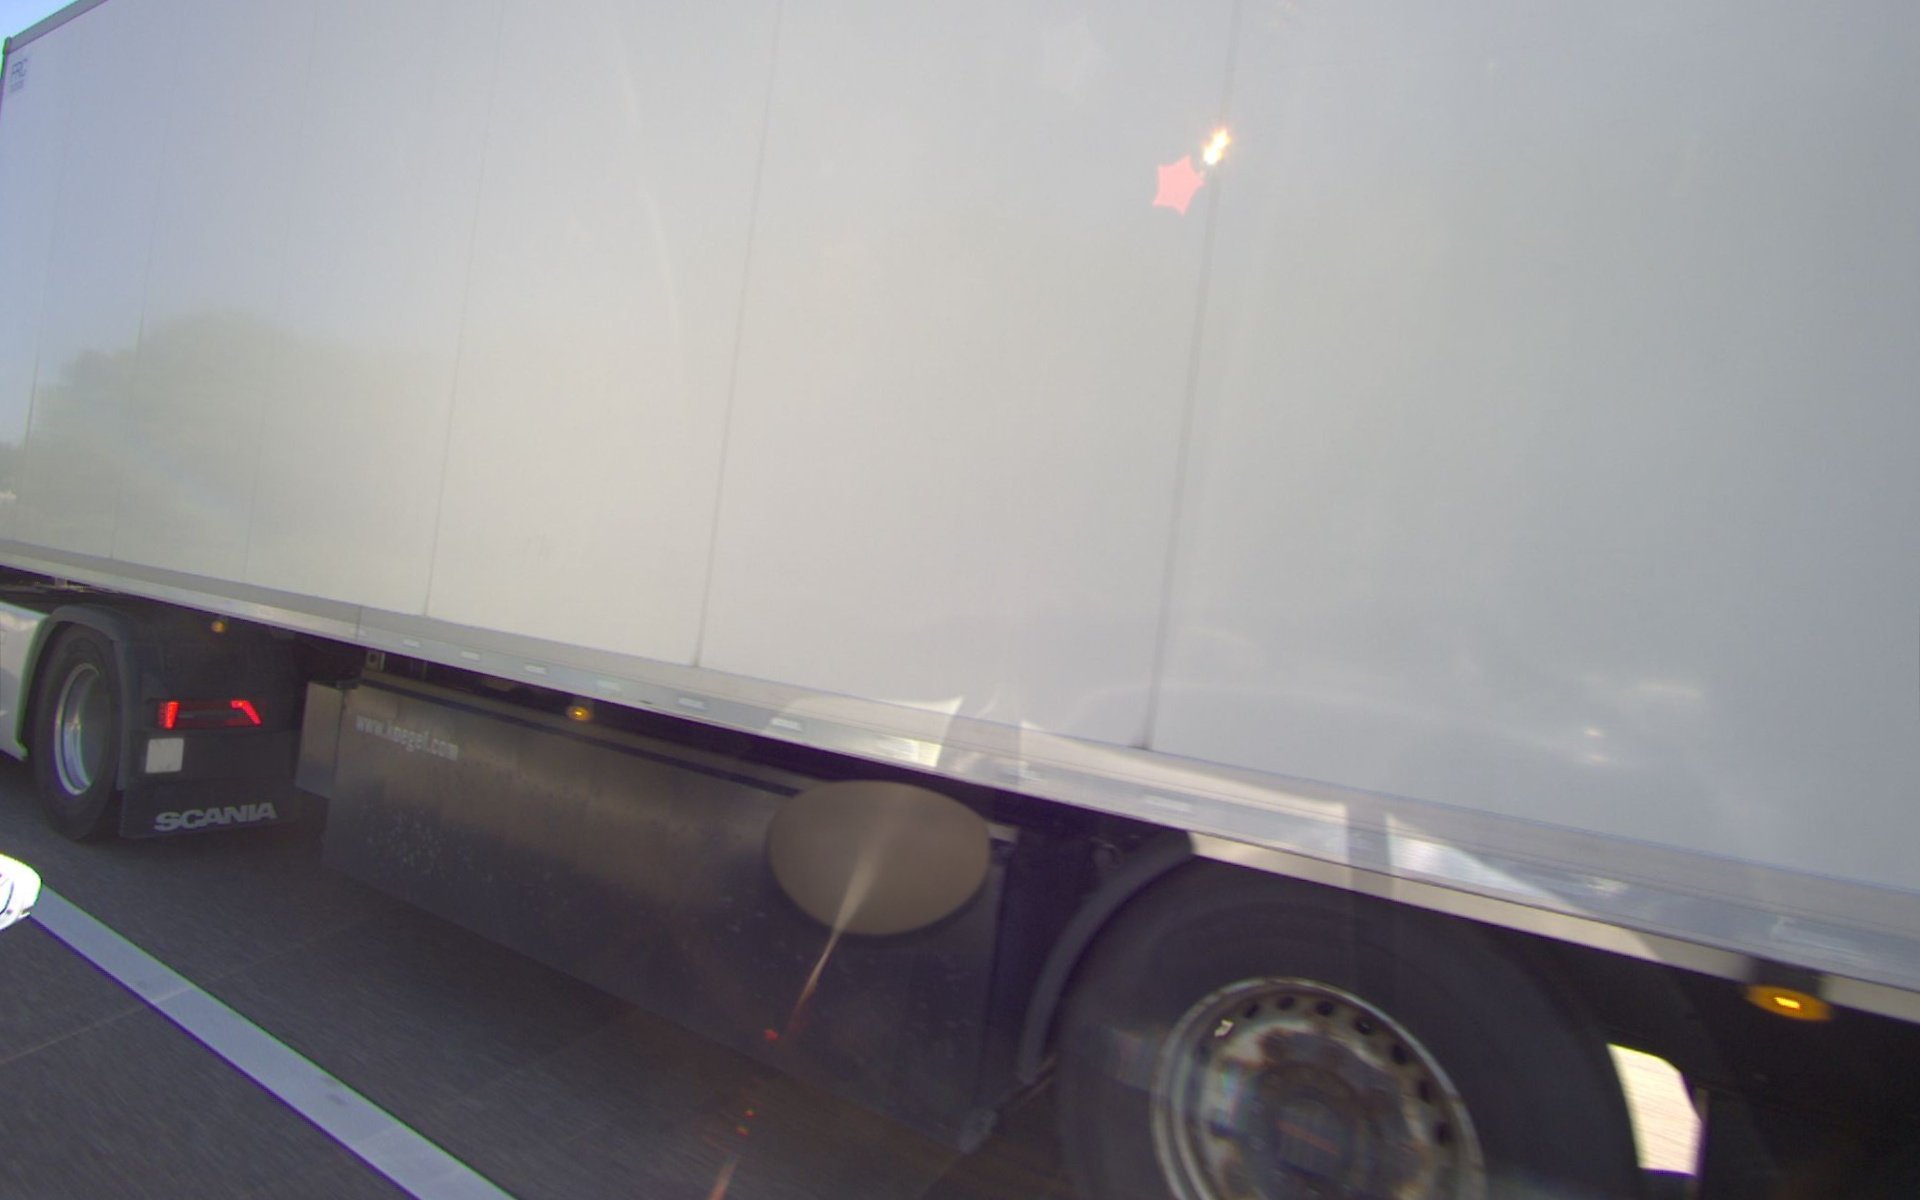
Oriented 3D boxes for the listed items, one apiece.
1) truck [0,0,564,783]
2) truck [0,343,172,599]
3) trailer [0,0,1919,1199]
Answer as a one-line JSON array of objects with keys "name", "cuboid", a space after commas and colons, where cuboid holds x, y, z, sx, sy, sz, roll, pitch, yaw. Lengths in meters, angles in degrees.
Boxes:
[{"name": "truck", "cuboid": [-5.978, -1.264, 7.473, 4.483, 4.209, 3.233, 7, 0, 31]}, {"name": "truck", "cuboid": [-17.397, -2.348, 18.976, 4.005, 4.086, 2.452, 6, -1, 33]}, {"name": "trailer", "cuboid": [1.296, -0.414, 3.011, 12.145, 4.194, 3.228, 7, 0, 31]}]
